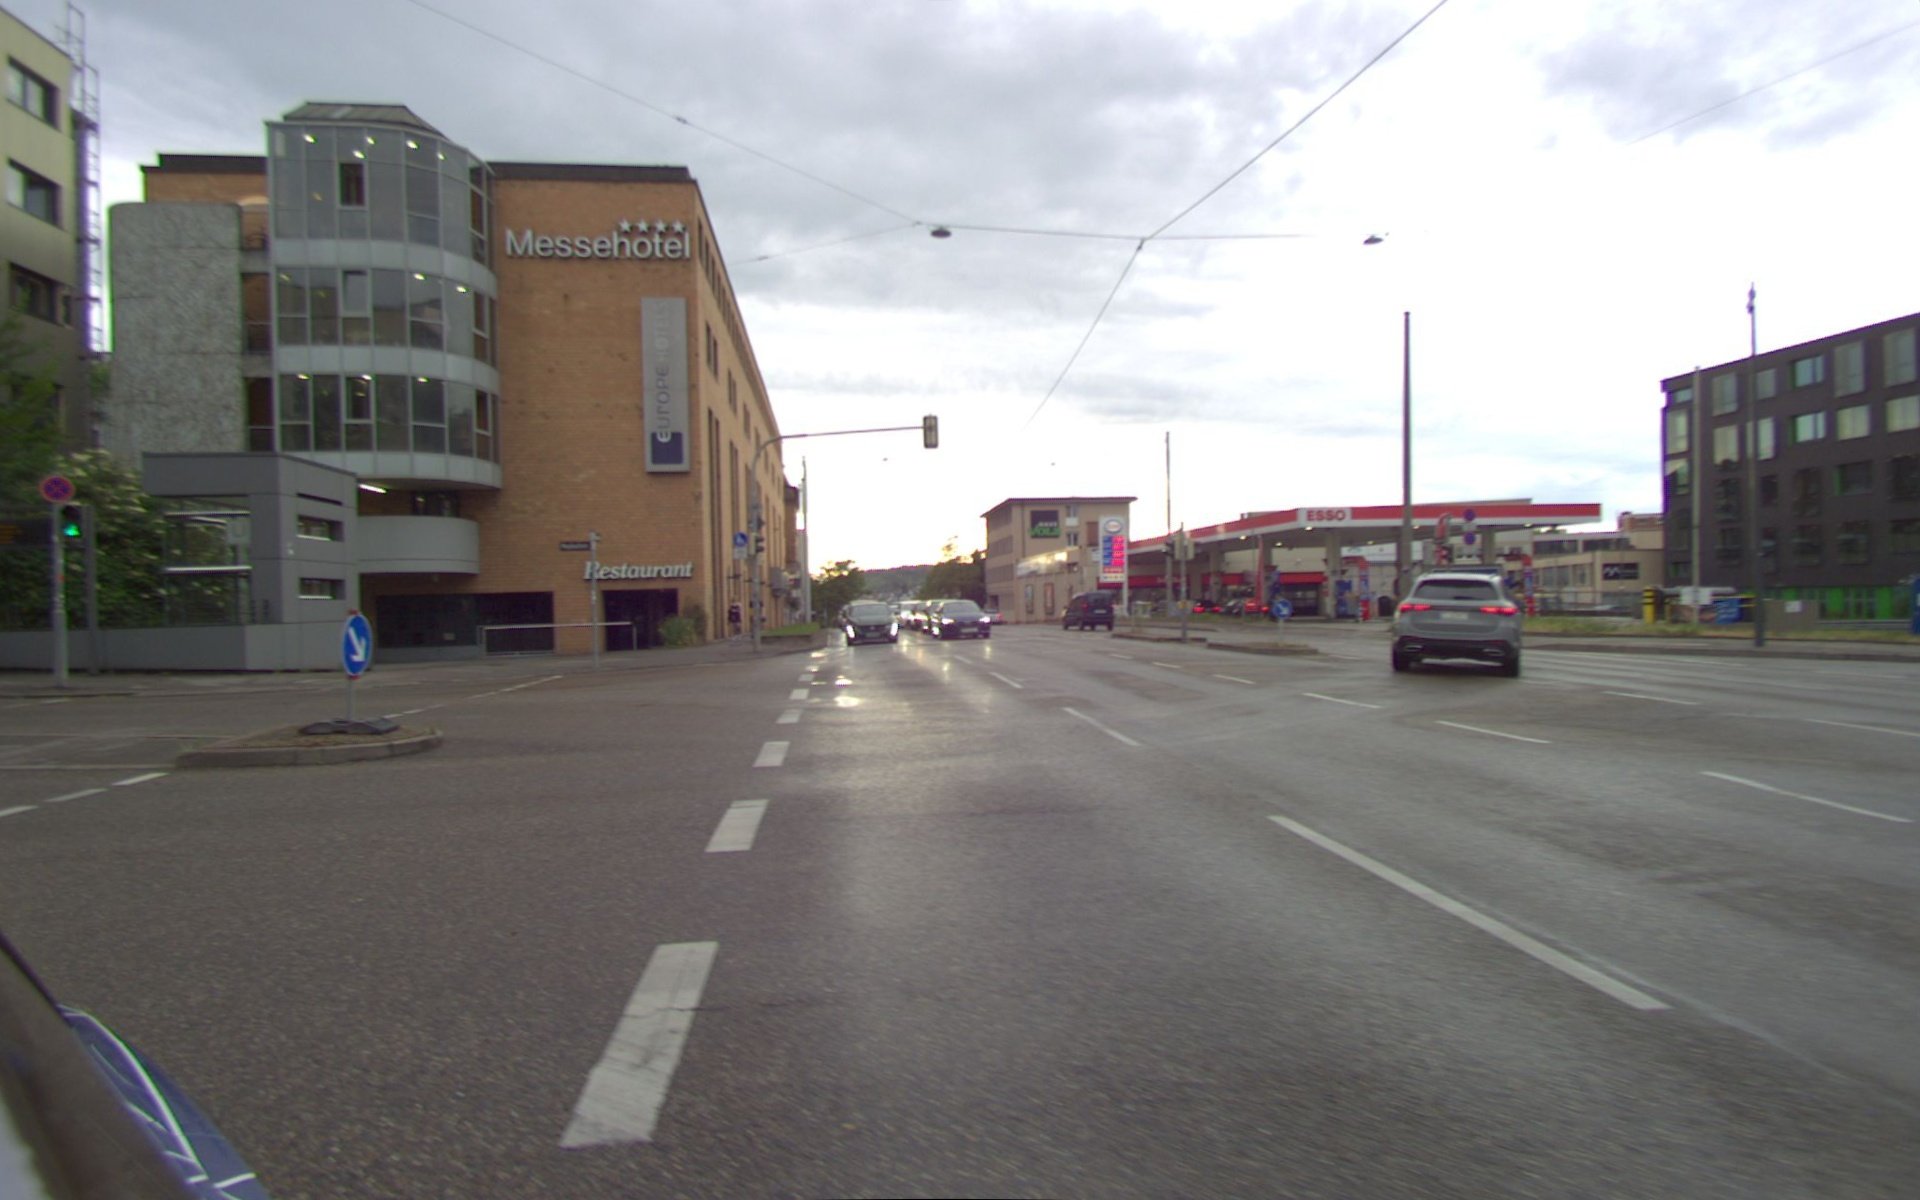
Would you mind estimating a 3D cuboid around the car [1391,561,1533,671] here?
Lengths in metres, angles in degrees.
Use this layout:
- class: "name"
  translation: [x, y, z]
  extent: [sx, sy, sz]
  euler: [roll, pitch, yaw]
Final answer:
- class: "car"
  translation: [8.742, 0.212, 17.428]
  extent: [1.907, 1.644, 4.167]
  euler: [-1, 1, 30]

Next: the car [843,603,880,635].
- class: "car"
  translation: [-4.879, 0.910, 50.359]
  extent: [1.672, 1.411, 4.093]
  euler: [-2, 0, -5]

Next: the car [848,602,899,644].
- class: "car"
  translation: [-3.108, 0.762, 35.844]
  extent: [1.625, 1.331, 4.006]
  euler: [-2, 0, -7]

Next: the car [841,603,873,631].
- class: "car"
  translation: [-5.812, 0.933, 56.967]
  extent: [1.672, 1.411, 4.094]
  euler: [-2, 0, -6]

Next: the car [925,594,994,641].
- class: "car"
  translation: [-0.076, 0.606, 37.238]
  extent: [1.935, 1.537, 4.269]
  euler: [-3, 0, -7]

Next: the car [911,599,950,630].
- class: "car"
  translation: [-1.519, 0.693, 50.768]
  extent: [1.672, 1.411, 4.093]
  euler: [-2, 0, -5]

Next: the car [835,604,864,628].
- class: "car"
  translation: [-7.076, 0.985, 65.146]
  extent: [1.672, 1.411, 4.093]
  euler: [-2, 0, -5]

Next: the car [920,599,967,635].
- class: "car"
  translation: [-0.754, 0.701, 43.564]
  extent: [1.672, 1.411, 4.093]
  euler: [-2, 0, -5]

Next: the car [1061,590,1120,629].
- class: "car"
  translation: [6.224, 0.418, 48.531]
  extent: [1.829, 1.781, 4.137]
  euler: [0, 0, -7]

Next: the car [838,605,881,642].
- class: "car"
  translation: [-4.248, 0.953, 43.041]
  extent: [1.672, 1.411, 4.093]
  euler: [-2, 0, -5]

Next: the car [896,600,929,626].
- class: "car"
  translation: [-2.786, 0.720, 58.700]
  extent: [1.672, 1.411, 4.093]
  euler: [-2, 0, -5]
